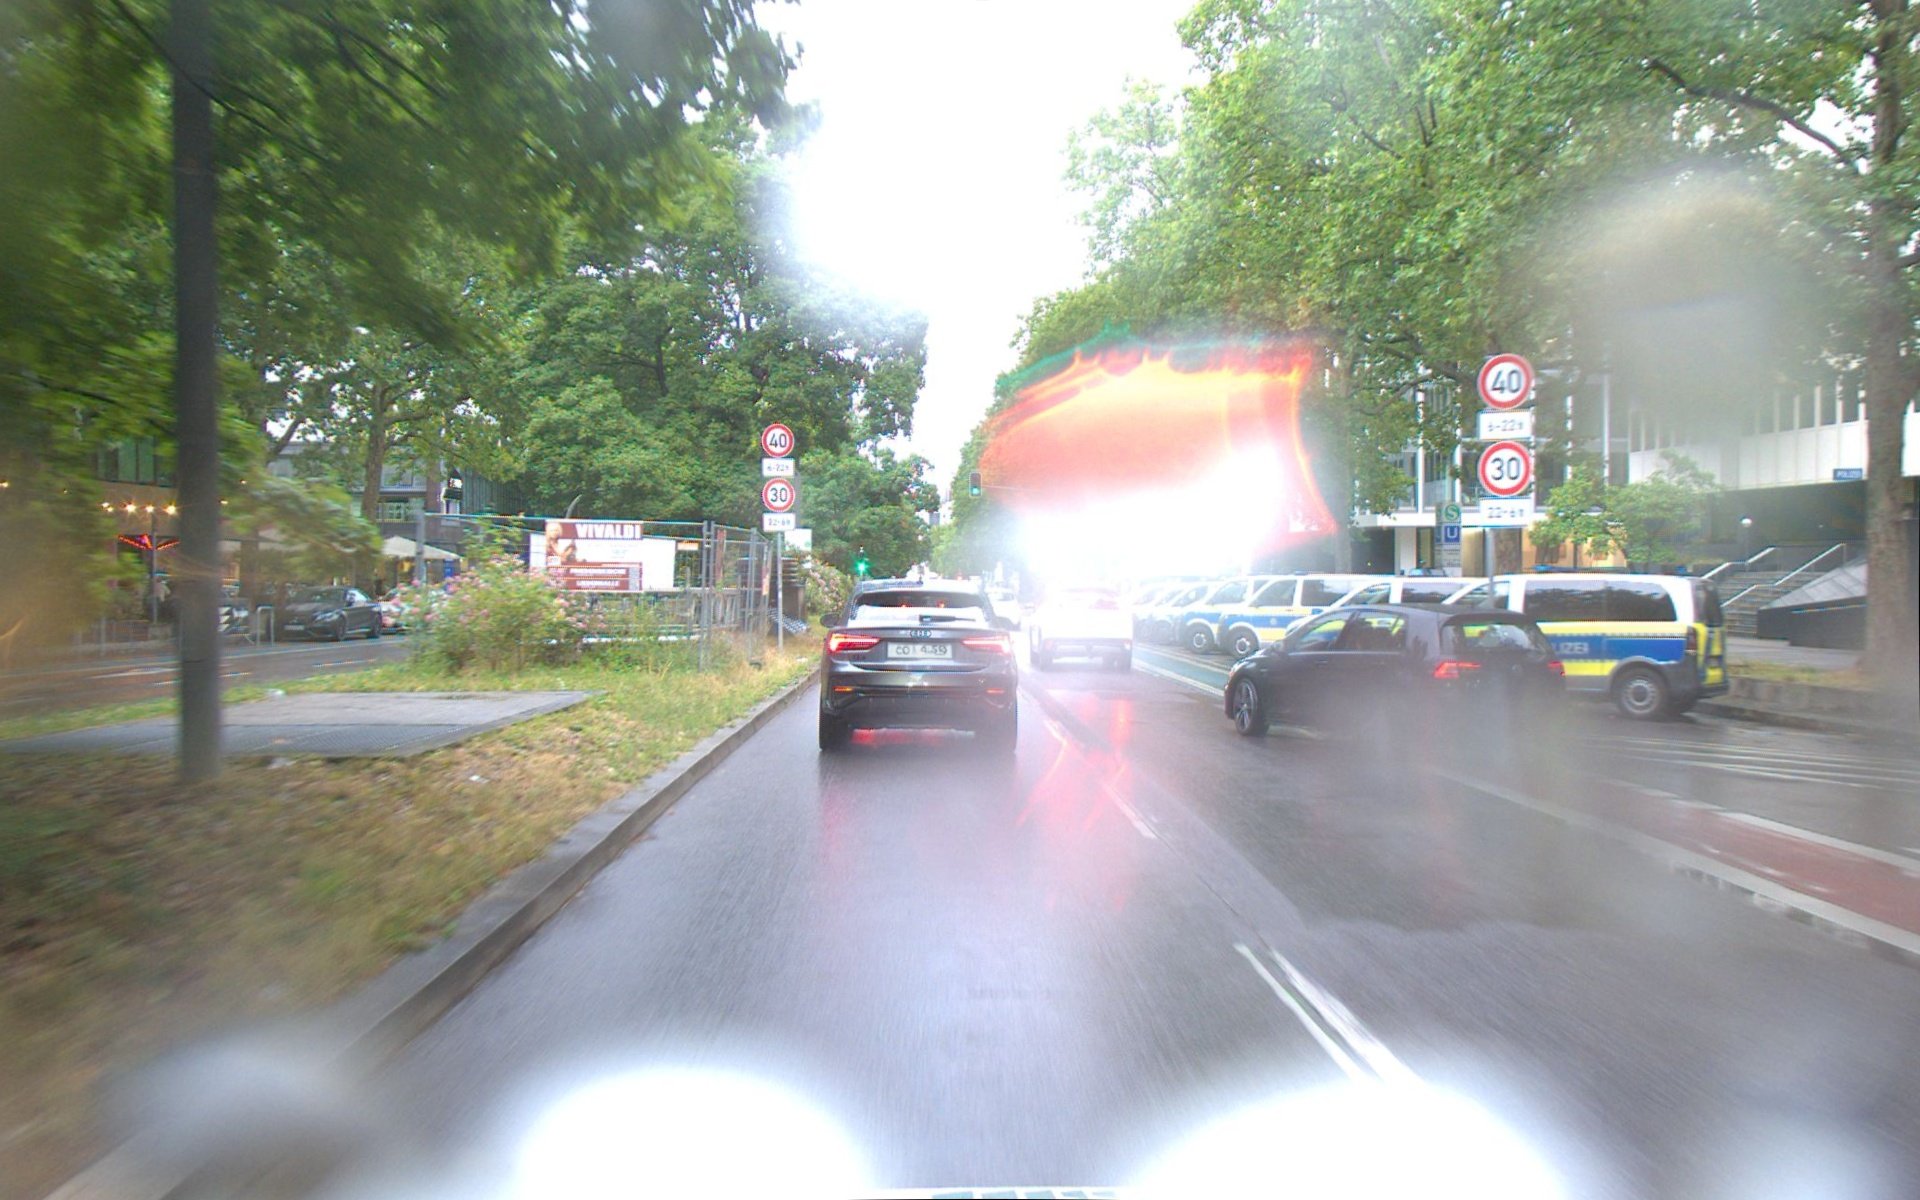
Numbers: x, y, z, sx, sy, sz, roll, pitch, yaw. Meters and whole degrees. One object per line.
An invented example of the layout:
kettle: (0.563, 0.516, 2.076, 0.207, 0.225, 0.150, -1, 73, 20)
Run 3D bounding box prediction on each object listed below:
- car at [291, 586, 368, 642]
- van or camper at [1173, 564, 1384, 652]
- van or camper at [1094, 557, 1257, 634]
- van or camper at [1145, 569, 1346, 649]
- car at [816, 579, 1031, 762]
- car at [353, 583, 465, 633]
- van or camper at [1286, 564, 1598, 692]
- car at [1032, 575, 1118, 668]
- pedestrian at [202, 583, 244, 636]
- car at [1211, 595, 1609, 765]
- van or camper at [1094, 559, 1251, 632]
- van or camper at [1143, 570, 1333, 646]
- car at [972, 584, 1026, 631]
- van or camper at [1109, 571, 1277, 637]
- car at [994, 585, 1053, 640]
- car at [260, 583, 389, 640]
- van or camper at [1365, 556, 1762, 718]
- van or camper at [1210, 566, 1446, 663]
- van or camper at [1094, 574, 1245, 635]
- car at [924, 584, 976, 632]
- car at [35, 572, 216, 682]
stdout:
car: (-16.679, 0.356, 43.834, 1.029, 1.412, 2.693, 0, 1, -1)
van or camper: (7.771, 0.178, 40.567, 4.697, 2.046, 1.993, 1, 0, 35)
van or camper: (7.892, -0.182, 60.780, 5.692, 2.727, 1.994, 0, 0, 34)
van or camper: (7.574, 0.218, 44.092, 4.916, 2.030, 1.995, 0, 0, 31)
car: (-0.313, 0.577, 16.412, 1.825, 1.559, 4.526, 0, 1, 0)
car: (-16.951, 0.205, 51.106, 1.953, 1.394, 4.539, 2, 1, -1)
van or camper: (8.589, 0.446, 29.693, 4.986, 2.054, 1.990, 2, 1, 35)
car: (2.212, 0.381, 32.311, 1.404, 1.714, 2.978, 0, 1, -1)
pedestrian: (-19.851, 0.252, 44.570, 0.748, 1.404, 0.932, 1, 0, -4)
car: (4.326, 0.692, 16.544, 1.742, 1.437, 3.969, -1, 1, -24)
van or camper: (8.152, -0.198, 63.803, 5.700, 2.724, 2.139, 1, 0, 36)
van or camper: (7.957, 0.185, 47.527, 5.006, 2.060, 2.098, 1, 1, 37)
car: (1.489, 0.269, 64.640, 1.953, 1.780, 3.999, 0, 1, -1)
van or camper: (7.615, 0.109, 54.297, 5.101, 2.027, 1.994, 1, 0, 33)
car: (2.124, 0.404, 56.125, 1.785, 1.780, 3.999, 0, 1, -1)
car: (-16.869, 0.275, 44.134, 1.788, 1.419, 4.483, 0, 0, -1)
van or camper: (8.362, 0.442, 23.120, 4.850, 2.026, 1.994, 1, 0, 37)
van or camper: (8.112, 0.274, 36.650, 4.757, 2.033, 1.861, 1, 0, 36)
van or camper: (7.321, 0.156, 58.062, 4.914, 2.049, 1.993, 0, -1, 35)
car: (-0.381, 0.251, 56.707, 1.687, 1.605, 3.960, 0, 1, -2)
car: (-13.520, 0.383, 27.061, 1.690, 1.654, 4.424, 1, 1, -14)
